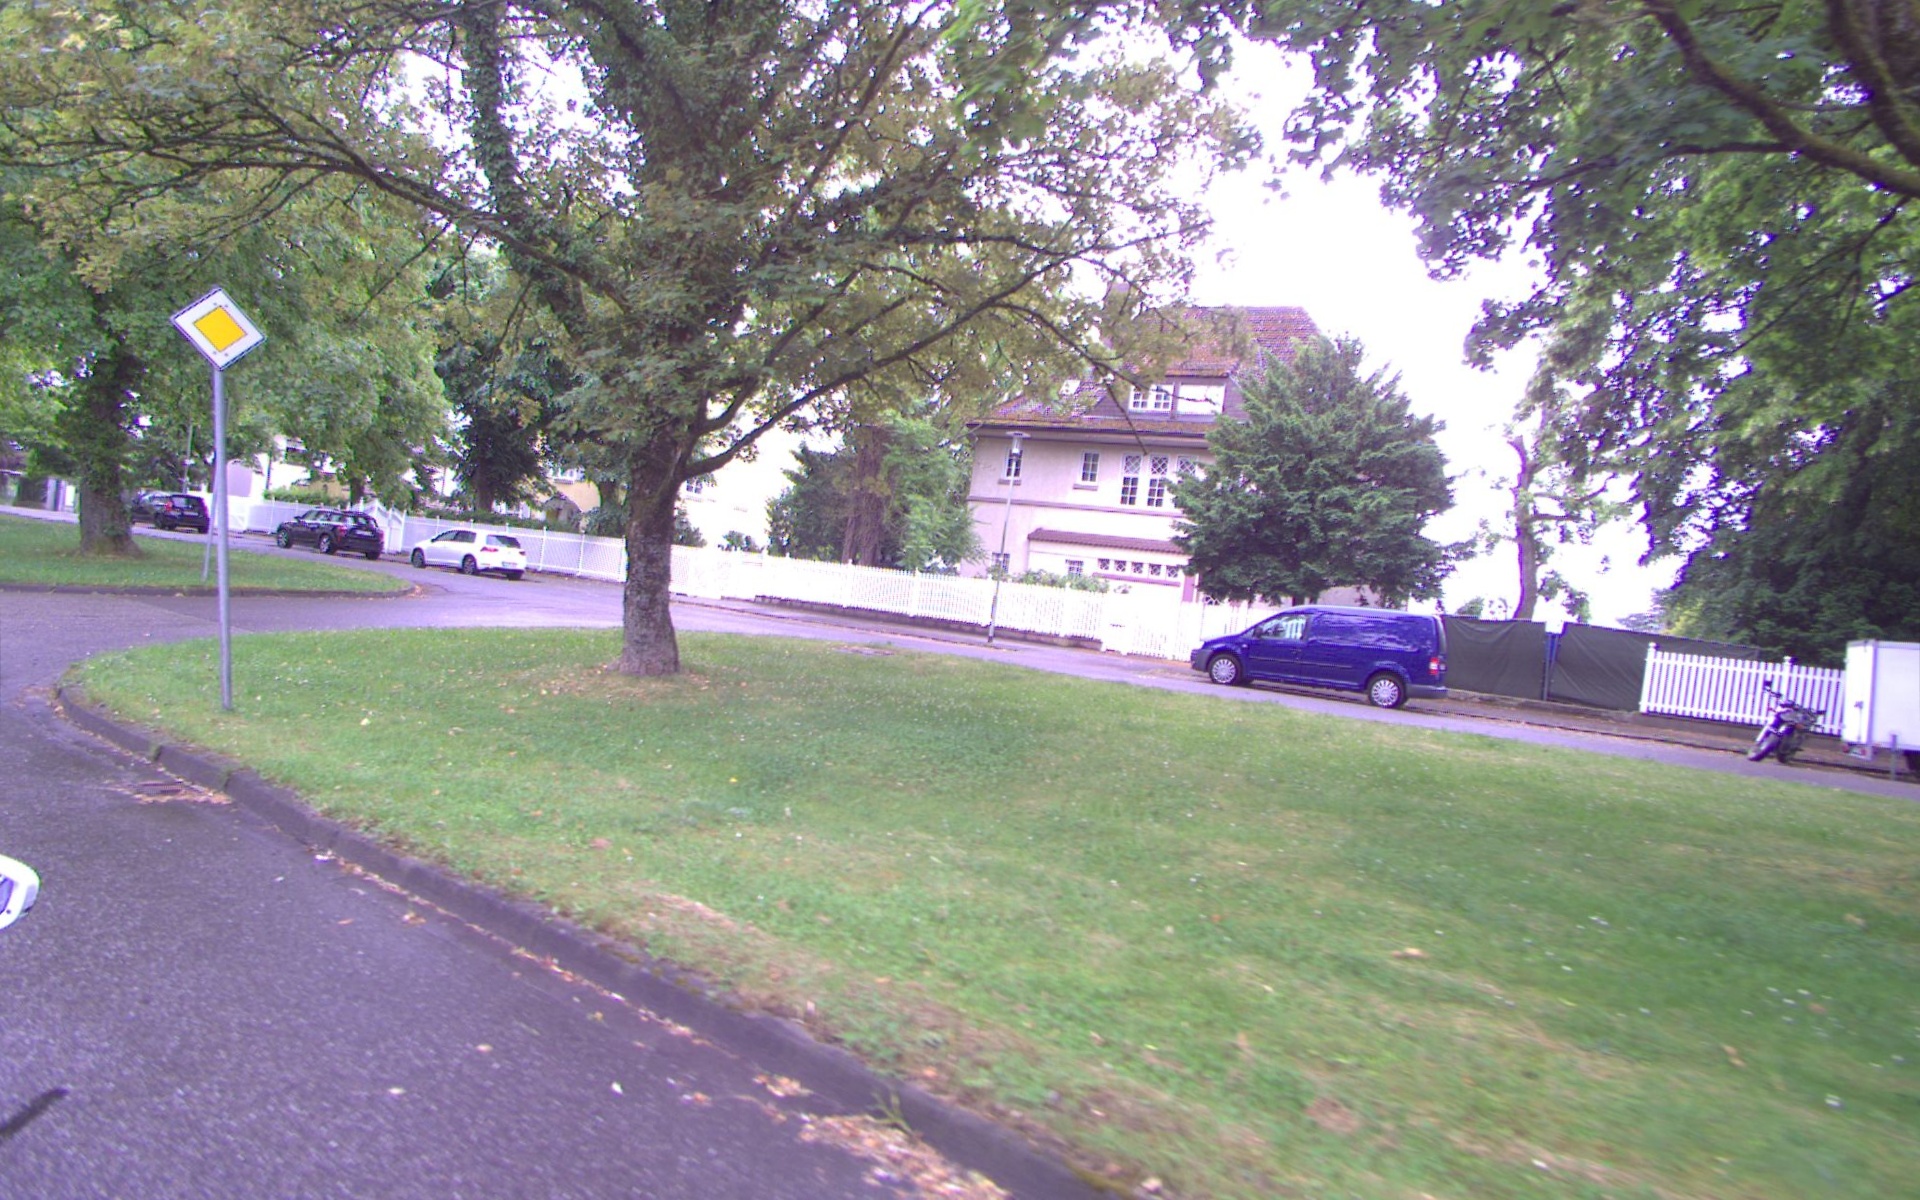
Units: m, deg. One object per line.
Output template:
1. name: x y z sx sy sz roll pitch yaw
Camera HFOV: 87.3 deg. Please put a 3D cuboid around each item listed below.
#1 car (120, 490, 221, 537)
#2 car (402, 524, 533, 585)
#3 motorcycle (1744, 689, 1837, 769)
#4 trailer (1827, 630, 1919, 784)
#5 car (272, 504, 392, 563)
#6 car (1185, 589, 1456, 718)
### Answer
1. car: -32.352 -3.545 41.220 4.042 1.430 1.804 8 2 30
2. car: -15.648 -1.448 31.910 3.939 1.428 1.618 8 2 27
3. motorcycle: 13.106 2.043 15.861 1.876 1.106 0.651 7 1 -39
4. trailer: 15.162 1.718 15.010 2.899 2.182 1.438 7 1 27
5. car: -22.059 -2.340 35.326 4.042 1.549 1.804 8 2 30
6. car: 7.003 0.961 19.659 4.569 1.833 1.943 7 2 29
